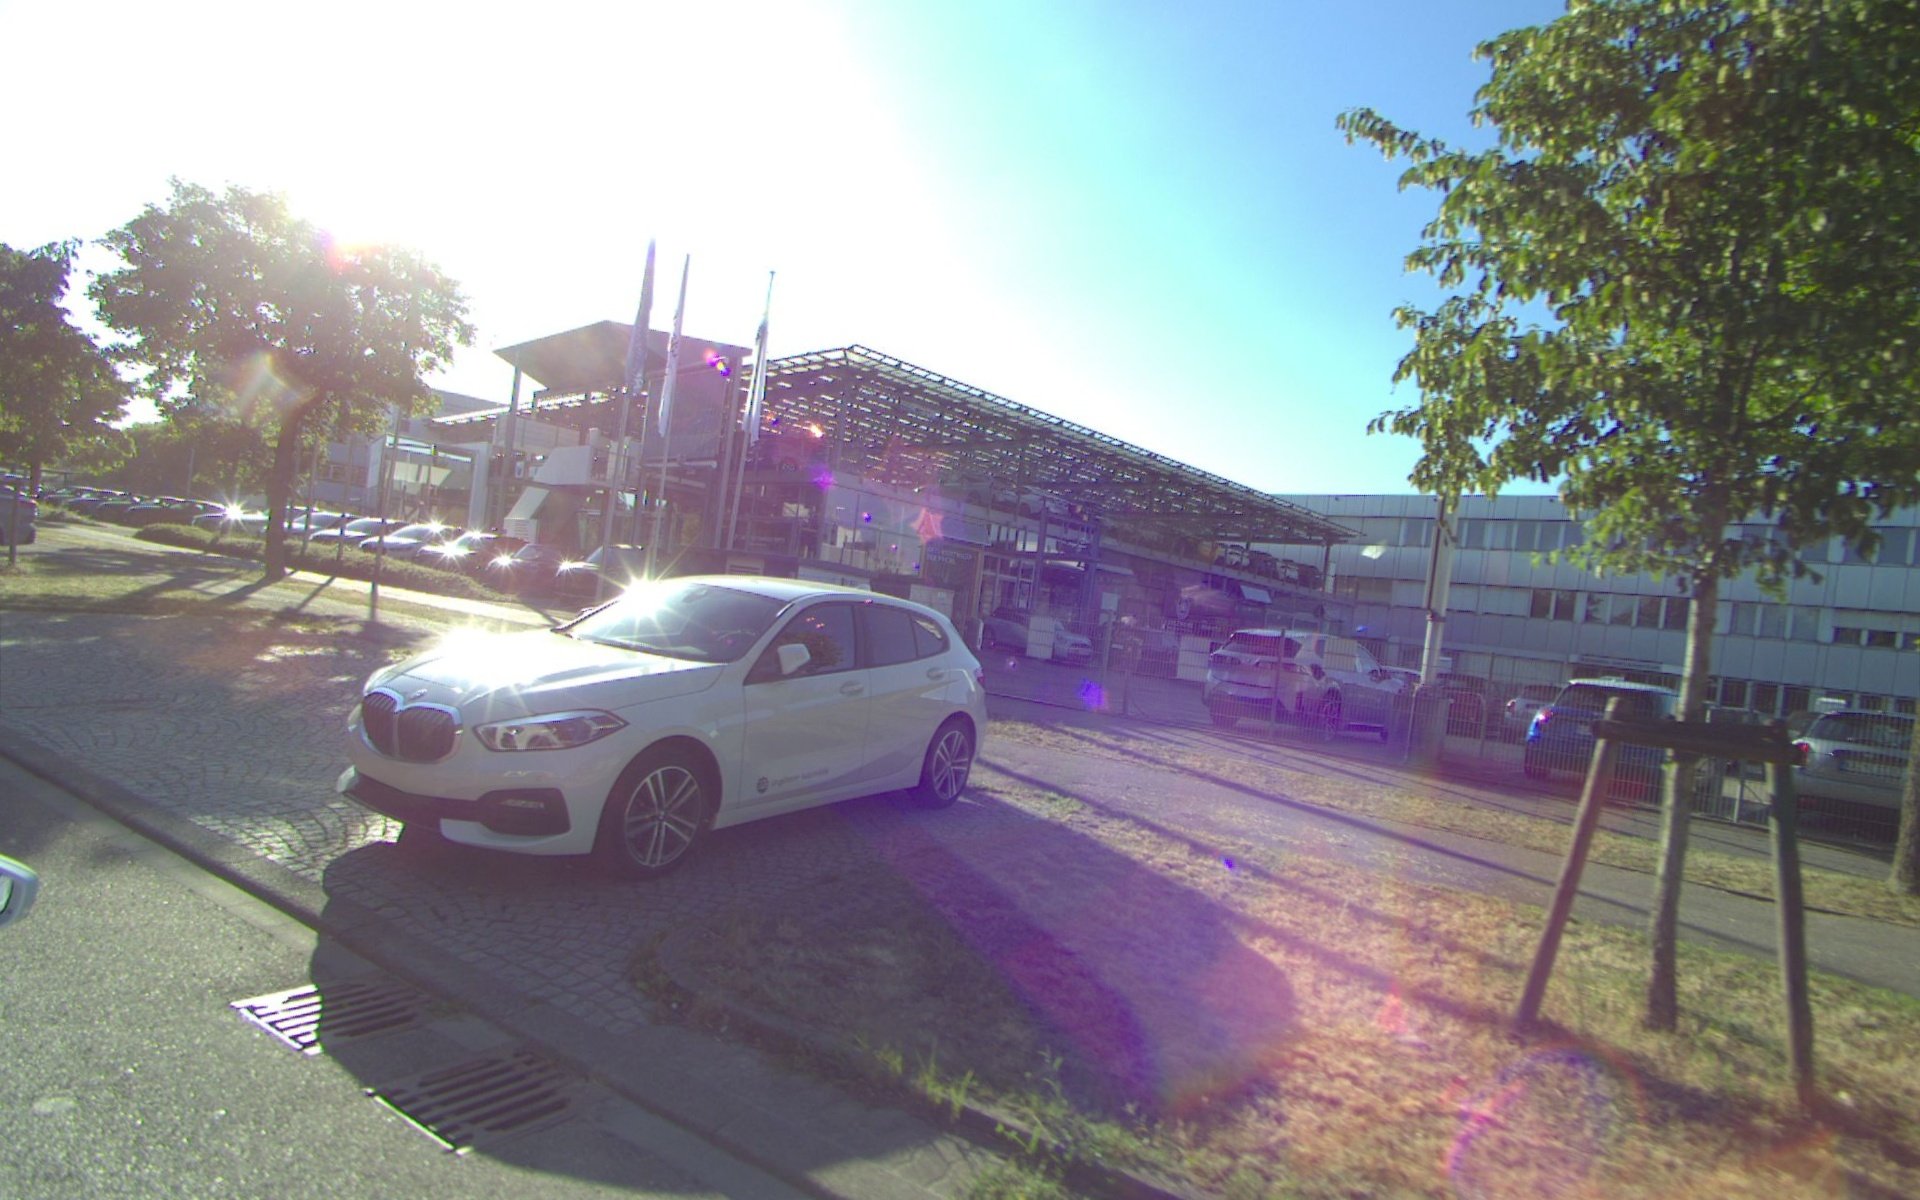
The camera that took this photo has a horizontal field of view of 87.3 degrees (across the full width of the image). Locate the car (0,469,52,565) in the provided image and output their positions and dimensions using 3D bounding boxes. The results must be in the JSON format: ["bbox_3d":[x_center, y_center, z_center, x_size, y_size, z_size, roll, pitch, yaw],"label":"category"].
[{"bbox_3d":[-18.215,-1.643,16.409,1.966,1.605,4.596,7,1,29],"label":"car"}]

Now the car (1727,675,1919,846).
[{"bbox_3d":[11.333,1.961,12.439,3.969,1.598,1.978,7,0,-40],"label":"car"}]

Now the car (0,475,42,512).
[{"bbox_3d":[-55.682,-6.291,59.324,2.024,1.850,4.917,7,0,-42],"label":"car"}]

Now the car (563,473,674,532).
[{"bbox_3d":[-14.599,-4.156,43.170,1.764,1.685,3.982,8,-3,44],"label":"car"}]

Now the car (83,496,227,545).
[{"bbox_3d":[-37.262,-3.648,46.710,4.718,1.482,1.993,7,0,-17],"label":"car"}]

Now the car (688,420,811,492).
[{"bbox_3d":[-7.759,-5.277,37.322,1.764,1.685,3.982,8,-3,45],"label":"car"}]

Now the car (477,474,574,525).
[{"bbox_3d":[-21.955,-5.069,50.949,1.764,1.685,3.982,8,-3,44],"label":"car"}]

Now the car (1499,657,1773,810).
[{"bbox_3d":[9.415,1.820,13.912,3.969,1.598,1.978,7,0,-40],"label":"car"}]

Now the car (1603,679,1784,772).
[{"bbox_3d":[15.644,2.673,21.409,3.969,1.597,2.138,7,-2,-40],"label":"car"}]

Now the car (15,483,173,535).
[{"bbox_3d":[-37.515,-3.914,43.721,4.712,1.482,1.995,7,0,-13],"label":"car"}]

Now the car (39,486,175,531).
[{"bbox_3d":[-43.034,-4.596,50.907,4.718,1.482,2.039,7,0,-17],"label":"car"}]

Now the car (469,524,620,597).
[{"bbox_3d":[-11.790,-1.055,28.930,1.962,1.688,4.604,7,1,5],"label":"car"}]

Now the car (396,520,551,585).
[{"bbox_3d":[-14.327,-1.355,29.991,1.962,1.595,4.602,6,2,5],"label":"car"}]

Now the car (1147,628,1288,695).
[{"bbox_3d":[7.669,1.838,29.830,3.969,1.465,1.977,7,2,-40],"label":"car"}]

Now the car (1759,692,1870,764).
[{"bbox_3d":[25.849,3.862,30.390,3.974,1.762,1.976,7,0,-43],"label":"car"}]

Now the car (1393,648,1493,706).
[{"bbox_3d":[18.407,2.939,38.261,3.974,1.762,1.976,7,0,-43],"label":"car"}]

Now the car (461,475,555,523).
[{"bbox_3d":[-23.654,-5.280,52.726,1.764,1.685,3.982,8,-3,44],"label":"car"}]

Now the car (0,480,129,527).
[{"bbox_3d":[-42.697,-4.590,47.561,4.718,1.482,1.993,7,0,-17],"label":"car"}]

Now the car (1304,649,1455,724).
[{"bbox_3d":[11.099,2.308,26.542,3.969,1.597,1.979,7,-2,-40],"label":"car"}]

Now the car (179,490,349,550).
[{"bbox_3d":[-27.730,-3.147,40.281,5.108,1.591,1.995,7,0,-13],"label":"car"}]

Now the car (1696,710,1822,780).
[{"bbox_3d":[22.272,4.034,27.993,3.969,1.597,1.885,7,-2,-39],"label":"car"}]

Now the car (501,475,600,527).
[{"bbox_3d":[-19.997,-4.813,49.200,1.764,1.685,3.982,8,-3,44],"label":"car"}]

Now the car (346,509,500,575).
[{"bbox_3d":[-16.799,-1.757,31.789,1.962,1.594,4.604,7,1,5],"label":"car"}]

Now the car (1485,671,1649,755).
[{"bbox_3d":[14.088,2.633,23.283,3.969,1.597,1.979,7,-2,-40],"label":"car"}]

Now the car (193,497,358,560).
[{"bbox_3d":[-24.647,-2.525,36.497,2.365,1.712,4.729,7,1,5],"label":"car"}]

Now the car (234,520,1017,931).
[{"bbox_3d":[-1.568,0.549,6.217,2.053,1.462,4.203,7,1,30],"label":"car"}]

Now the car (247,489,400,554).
[{"bbox_3d":[-21.945,-2.668,34.971,1.962,1.593,4.606,8,0,5],"label":"car"}]

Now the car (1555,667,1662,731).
[{"bbox_3d":[22.048,3.381,34.171,3.974,1.762,1.976,7,0,-43],"label":"car"}]

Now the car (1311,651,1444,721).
[{"bbox_3d":[12.913,2.676,31.036,3.969,1.599,1.976,7,4,-40],"label":"car"}]

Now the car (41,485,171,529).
[{"bbox_3d":[-45.079,-4.894,53.210,4.718,1.482,1.993,7,0,-17],"label":"car"}]

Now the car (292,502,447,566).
[{"bbox_3d":[-19.352,-2.117,33.250,1.962,1.594,4.604,7,1,5],"label":"car"}]

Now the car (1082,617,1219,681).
[{"bbox_3d":[5.990,1.550,31.451,3.969,1.465,1.977,7,2,-40],"label":"car"}]

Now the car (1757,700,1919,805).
[{"bbox_3d":[17.233,2.928,19.514,3.970,1.549,1.903,7,0,-40],"label":"car"}]

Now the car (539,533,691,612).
[{"bbox_3d":[-9.120,-0.656,27.065,1.962,1.687,4.607,7,0,6],"label":"car"}]

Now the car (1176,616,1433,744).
[{"bbox_3d":[5.572,1.315,16.087,3.969,1.598,1.978,7,0,-40],"label":"car"}]

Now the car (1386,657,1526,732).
[{"bbox_3d":[14.465,2.764,29.281,3.969,1.599,1.976,7,4,-40],"label":"car"}]

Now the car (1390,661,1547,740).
[{"bbox_3d":[12.608,2.495,24.860,3.969,1.597,1.979,7,-2,-40],"label":"car"}]
